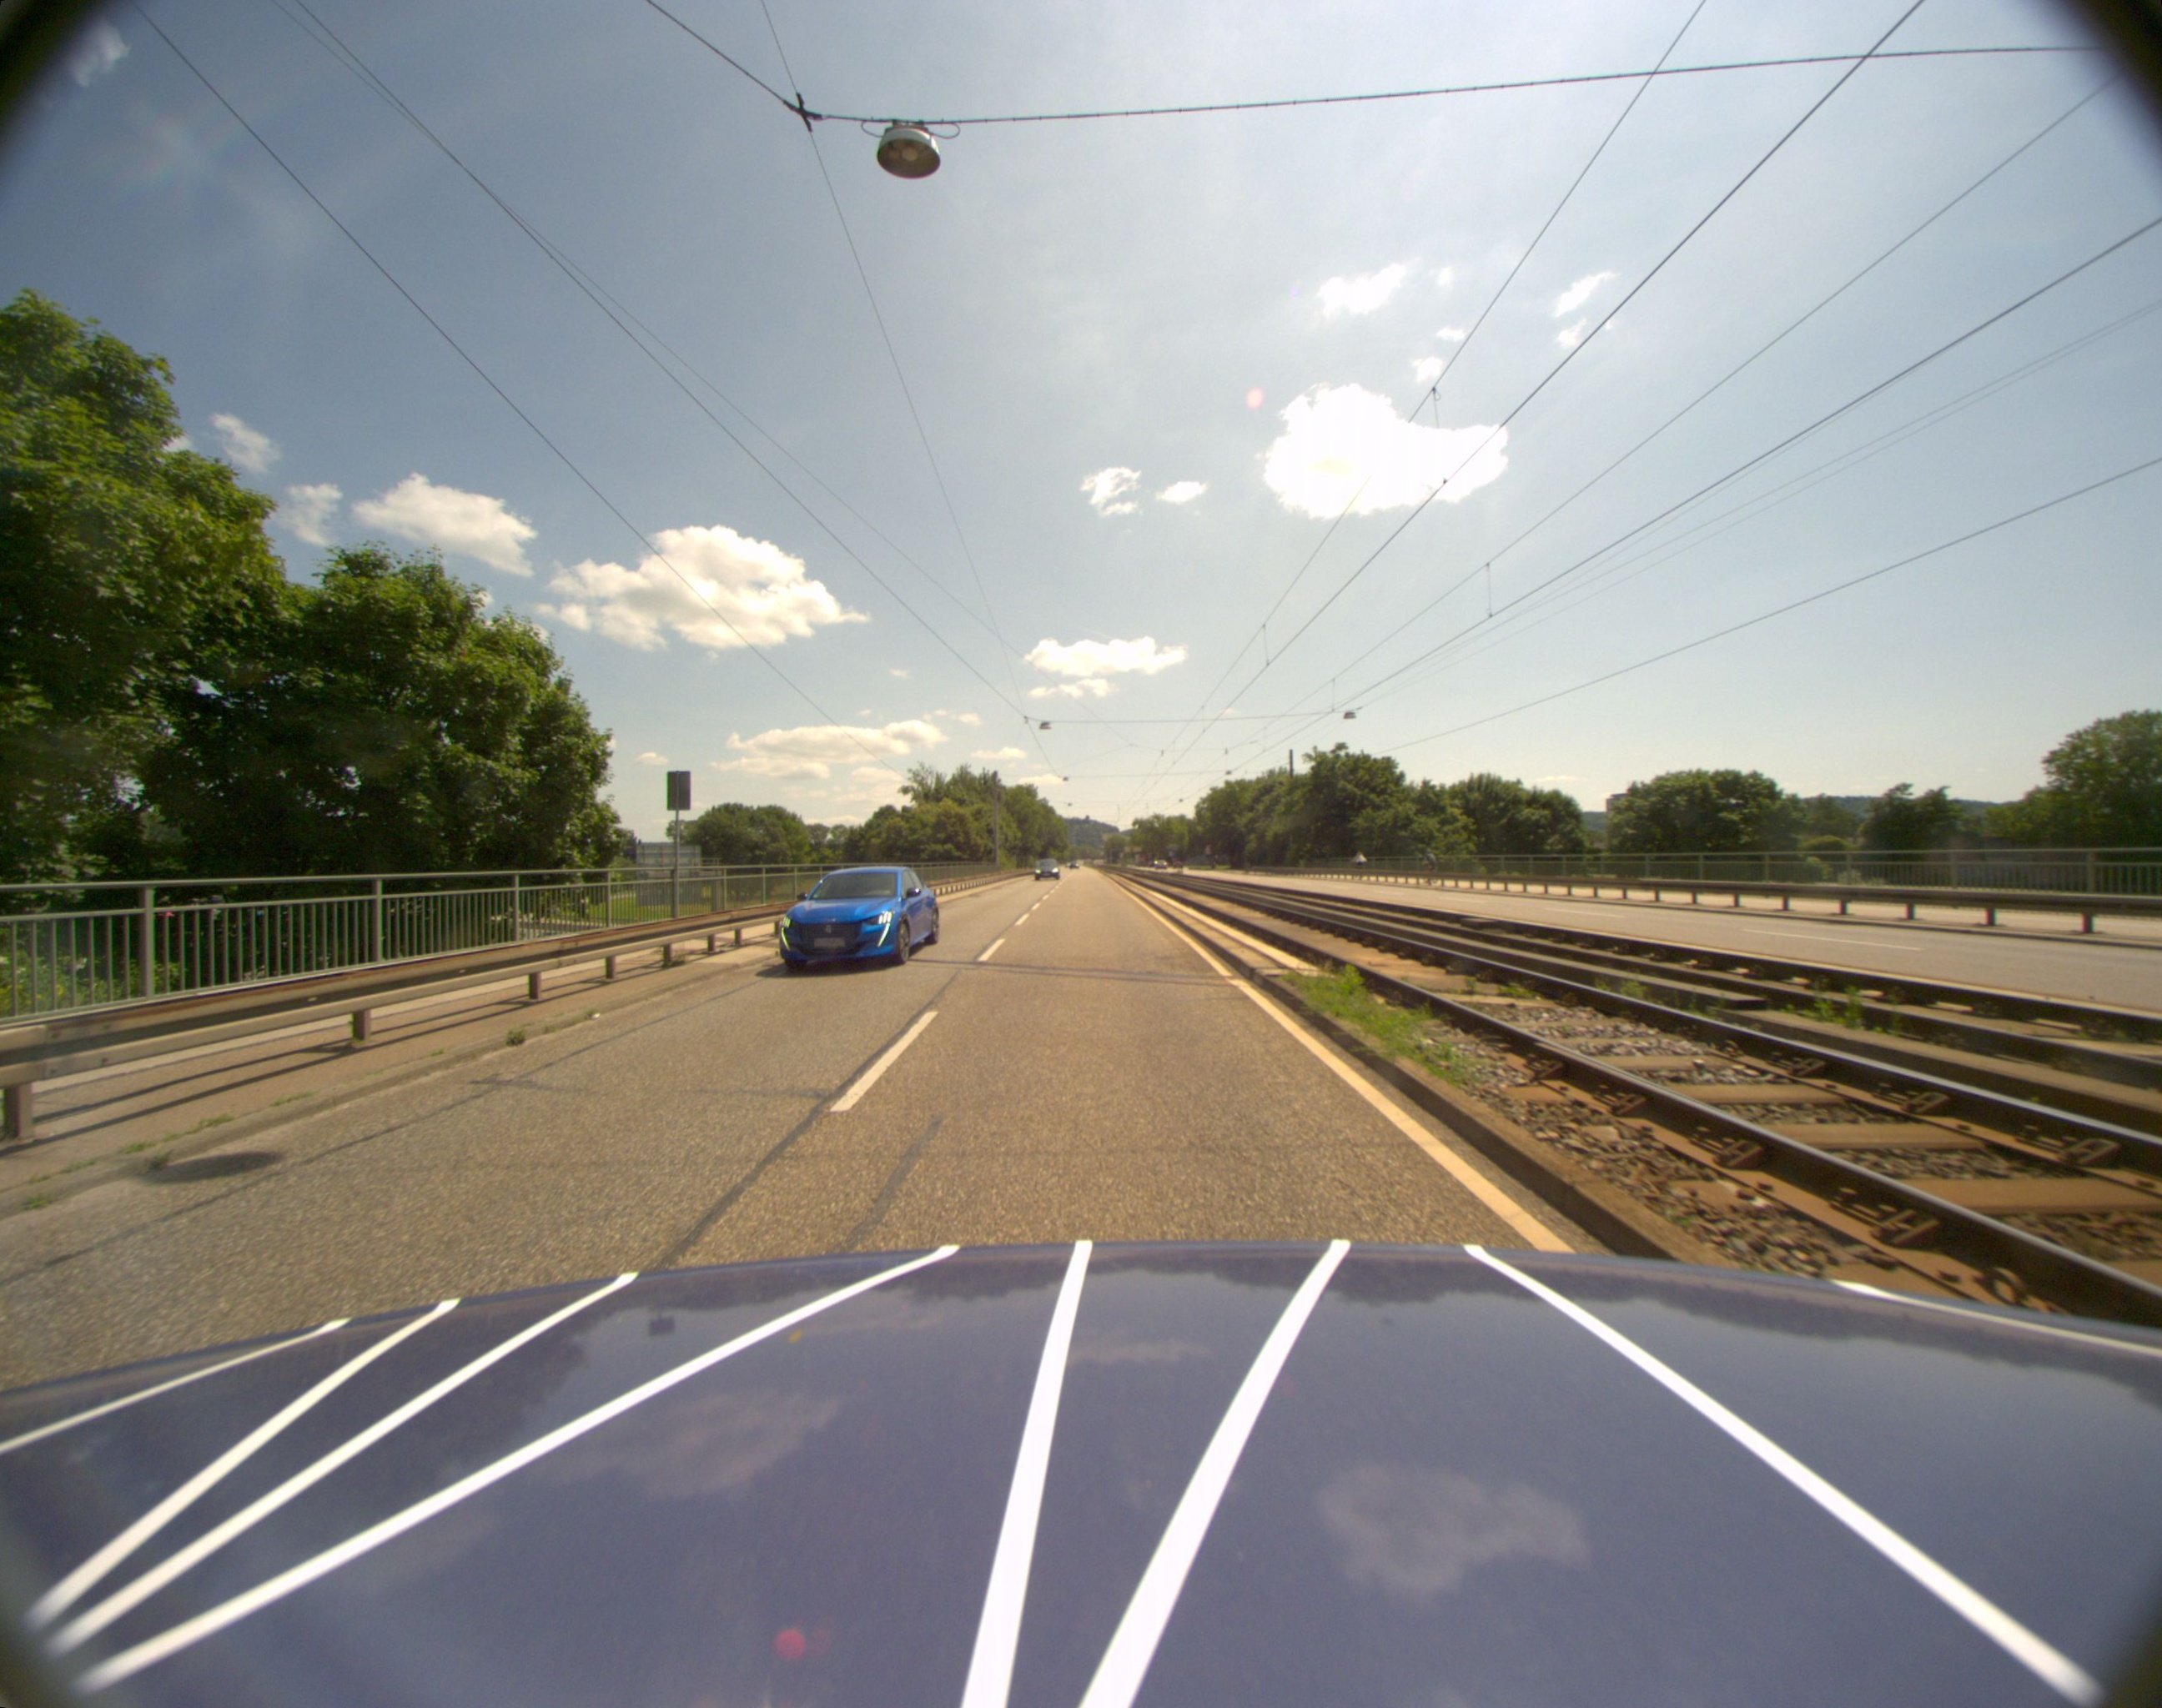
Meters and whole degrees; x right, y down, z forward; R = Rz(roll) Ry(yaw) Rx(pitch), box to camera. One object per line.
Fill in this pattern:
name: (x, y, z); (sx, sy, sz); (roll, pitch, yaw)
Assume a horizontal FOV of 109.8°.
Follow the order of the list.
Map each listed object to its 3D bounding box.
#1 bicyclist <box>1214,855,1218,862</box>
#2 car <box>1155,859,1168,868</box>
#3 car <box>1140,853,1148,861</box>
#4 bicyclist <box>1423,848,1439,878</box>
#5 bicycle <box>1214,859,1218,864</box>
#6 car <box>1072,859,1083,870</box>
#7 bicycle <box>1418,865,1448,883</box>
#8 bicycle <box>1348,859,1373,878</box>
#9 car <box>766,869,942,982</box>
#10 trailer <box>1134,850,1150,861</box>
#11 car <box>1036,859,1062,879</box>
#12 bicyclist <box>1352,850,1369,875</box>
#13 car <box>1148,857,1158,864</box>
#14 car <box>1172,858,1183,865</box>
bicyclist: (27.172, 0.972, 152.919); (0.570, 1.360, 0.631); (-2, 1, 6)
car: (13.404, 1.622, 127.251); (1.715, 1.412, 4.624); (0, 0, 1)
car: (16.458, 0.753, 199.192); (1.816, 1.914, 5.179); (0, 0, 1)
bicyclist: (17.952, 0.457, 38.942); (0.522, 1.488, 0.530); (-2, 0, 0)
bicycle: (27.185, 1.470, 152.881); (0.587, 0.814, 2.069); (-3, 1, 6)
car: (-0.744, 2.096, 153.096); (1.999, 2.002, 4.000); (-2, 0, -1)
bicycle: (17.970, 1.002, 38.849); (0.524, 0.838, 2.036); (-3, 0, -1)
bicycle: (18.351, 0.957, 49.978); (0.859, 1.178, 2.062); (-2, 0, 0)
car: (-3.417, 1.005, 12.167); (1.660, 1.397, 3.743); (-2, 0, 0)
trailer: (21.568, 0.489, 268.550); (3.388, 3.633, 12.104); (0, 0, -5)
car: (-2.369, 1.115, 57.697); (1.769, 1.359, 3.743); (-2, 0, 0)
bicyclist: (18.346, 0.528, 49.930); (0.765, 1.612, 0.838); (-2, 1, 0)
car: (15.010, 1.352, 158.243); (1.578, 1.392, 3.938); (0, 0, 0)
car: (18.290, 1.456, 144.092); (1.567, 1.339, 3.929); (0, 0, 1)
